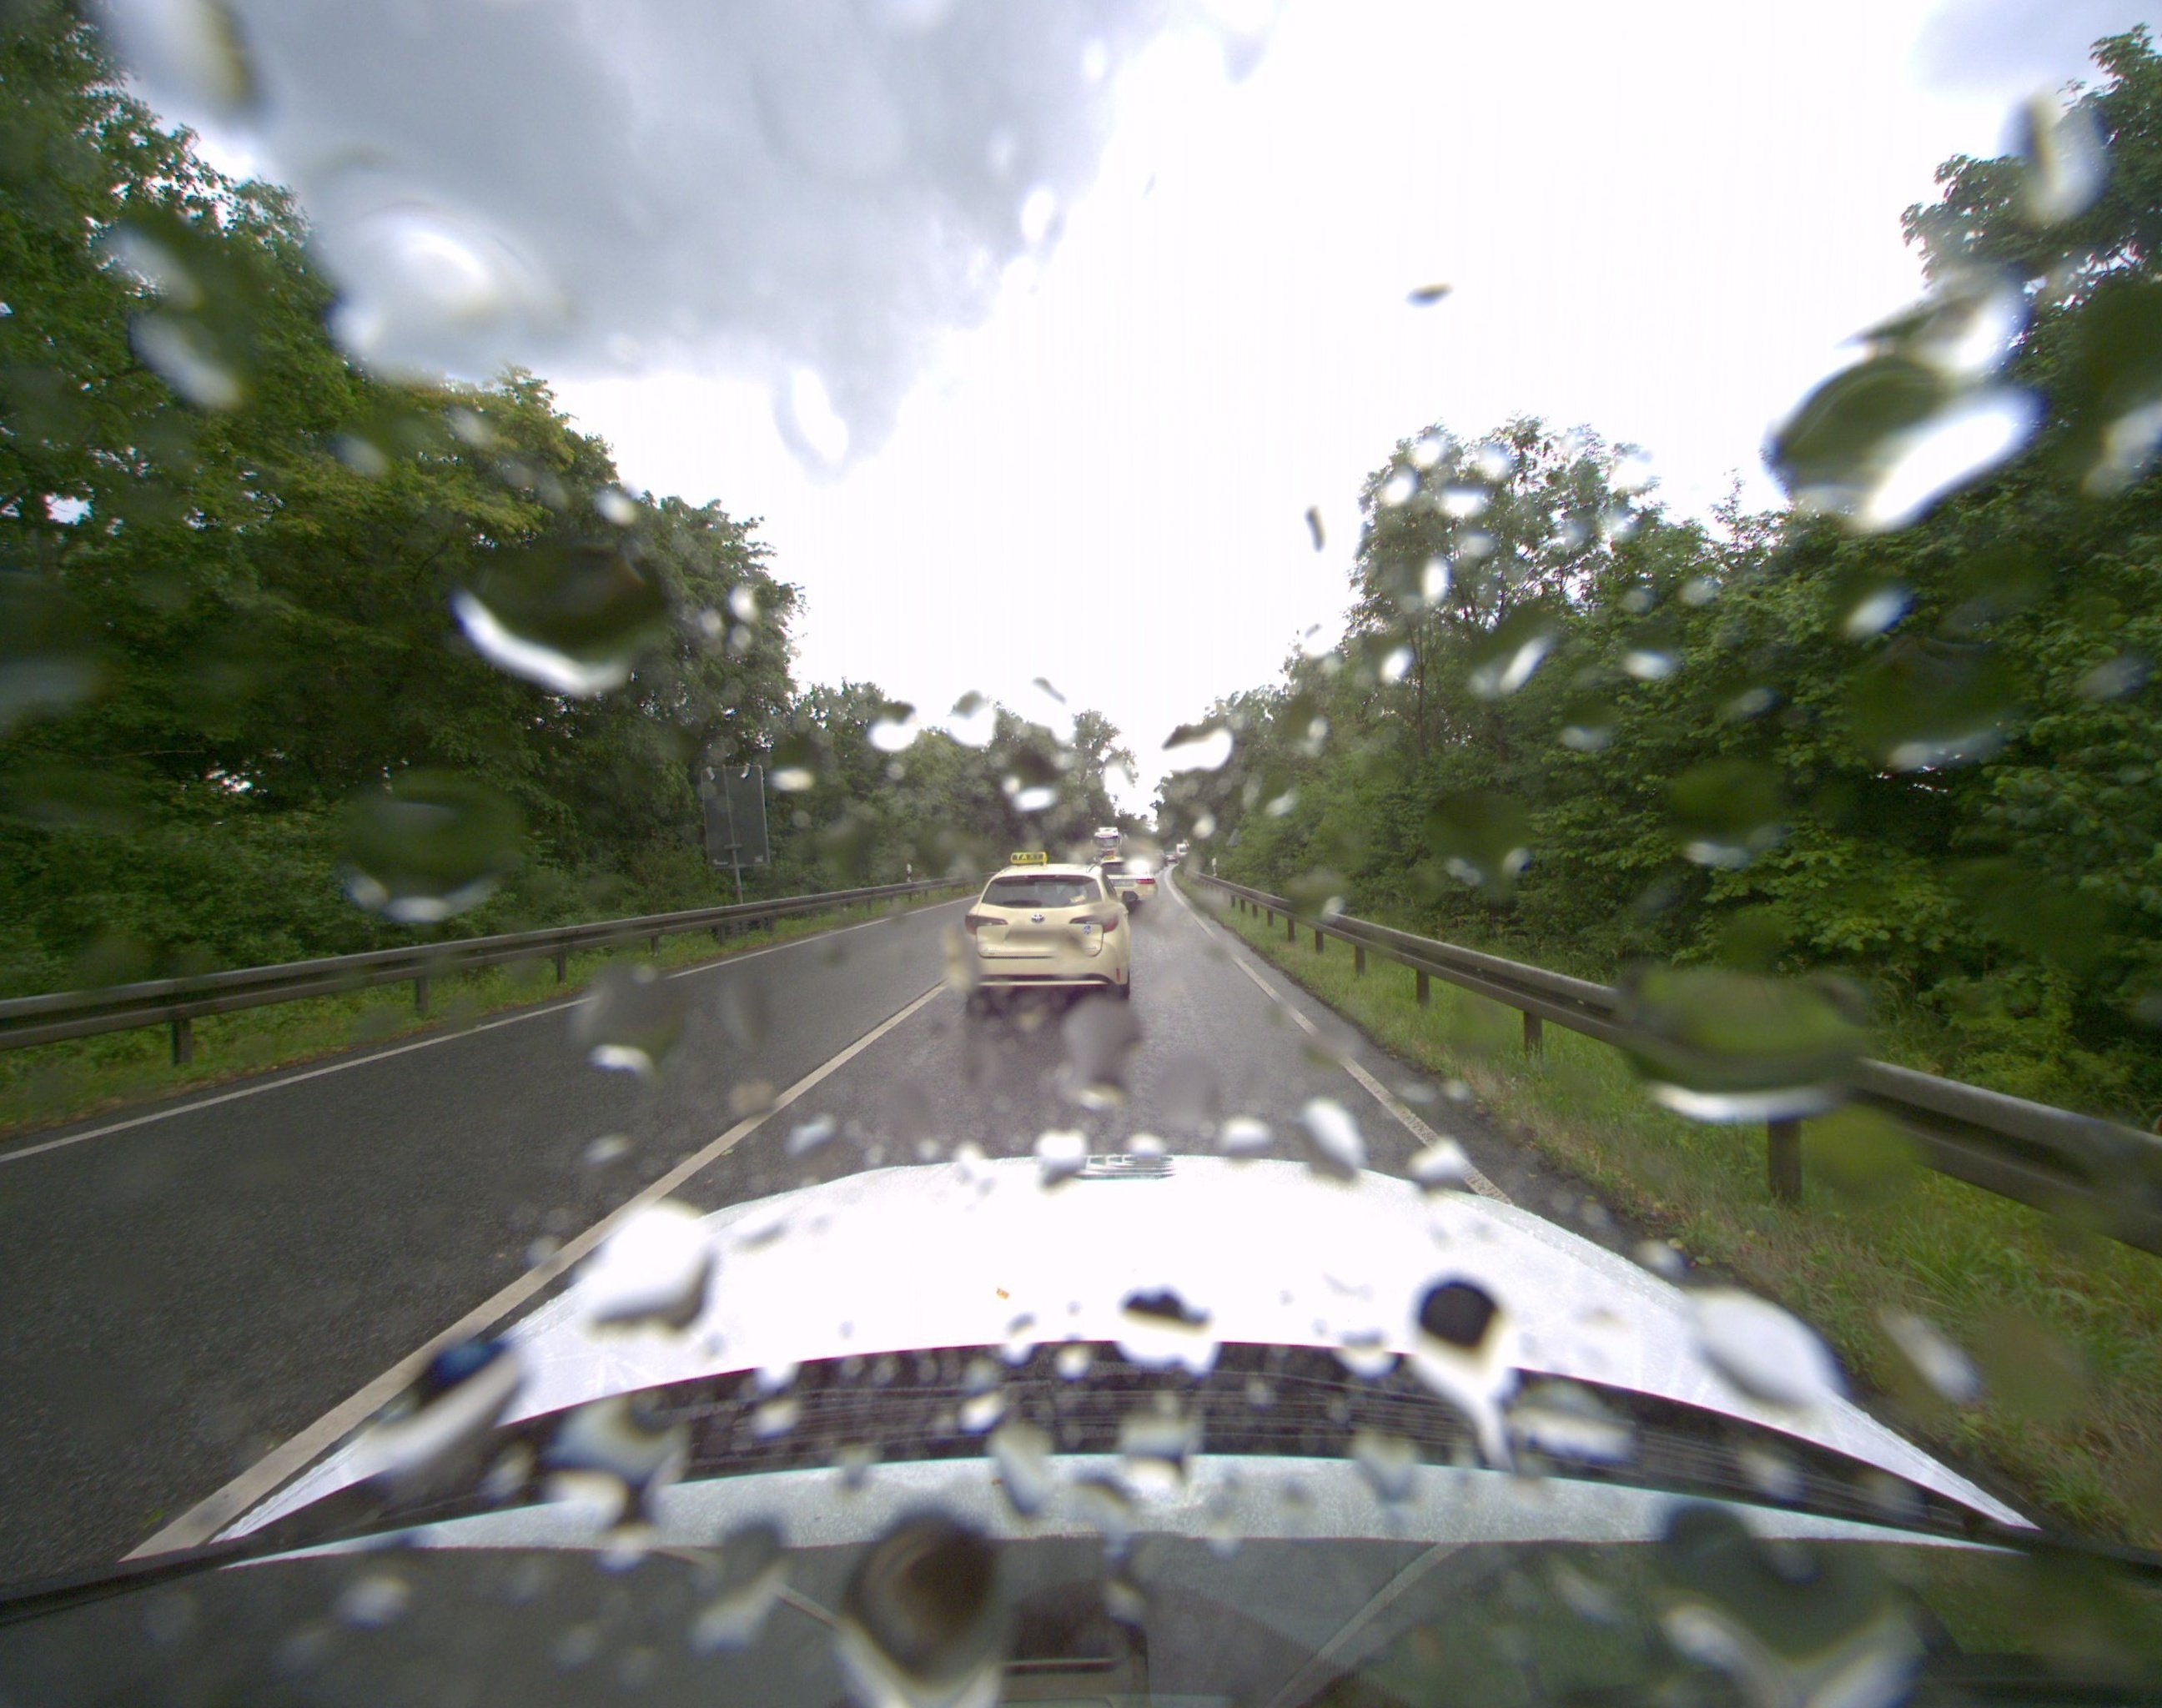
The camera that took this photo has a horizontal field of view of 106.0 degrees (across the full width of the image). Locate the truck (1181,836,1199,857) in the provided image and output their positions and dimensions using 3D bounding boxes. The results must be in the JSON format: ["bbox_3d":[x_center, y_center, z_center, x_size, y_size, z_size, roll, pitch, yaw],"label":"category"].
[{"bbox_3d":[20.083,-1.366,149.927,3.088,3.680,7.019,0,-1,10],"label":"truck"}]

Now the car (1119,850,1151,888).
[{"bbox_3d":[2.360,0.625,35.306,1.295,1.547,3.263,0,-1,4],"label":"car"}]

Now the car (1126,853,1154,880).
[{"bbox_3d":[3.576,0.727,49.741,1.604,1.547,3.818,-1,0,4],"label":"car"}]

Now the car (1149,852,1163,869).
[{"bbox_3d":[6.712,0.589,72.878,1.161,1.547,2.608,0,-1,5],"label":"car"}]

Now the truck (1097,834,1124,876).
[{"bbox_3d":[2.842,0.115,78.399,2.526,3.825,5.248,0,-1,2],"label":"truck"}]

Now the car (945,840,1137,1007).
[{"bbox_3d":[-0.302,0.687,9.852,1.826,1.580,4.159,0,-1,2],"label":"car"}]

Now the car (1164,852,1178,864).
[{"bbox_3d":[11.936,0.565,107.980,1.759,1.547,3.823,0,-1,8],"label":"car"}]

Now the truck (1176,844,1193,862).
[{"bbox_3d":[16.495,-0.141,130.658,2.537,2.713,7.547,0,-1,6],"label":"truck"}]

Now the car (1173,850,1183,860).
[{"bbox_3d":[21.228,0.193,177.556,1.572,2.014,3.777,-1,-1,15],"label":"car"}]

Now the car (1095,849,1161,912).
[{"bbox_3d":[1.344,0.696,22.558,1.660,1.580,3.896,0,-1,4],"label":"car"}]

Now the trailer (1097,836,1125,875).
[{"bbox_3d":[3.172,0.167,83.781,2.524,3.825,7.800,0,-1,4],"label":"trailer"}]
